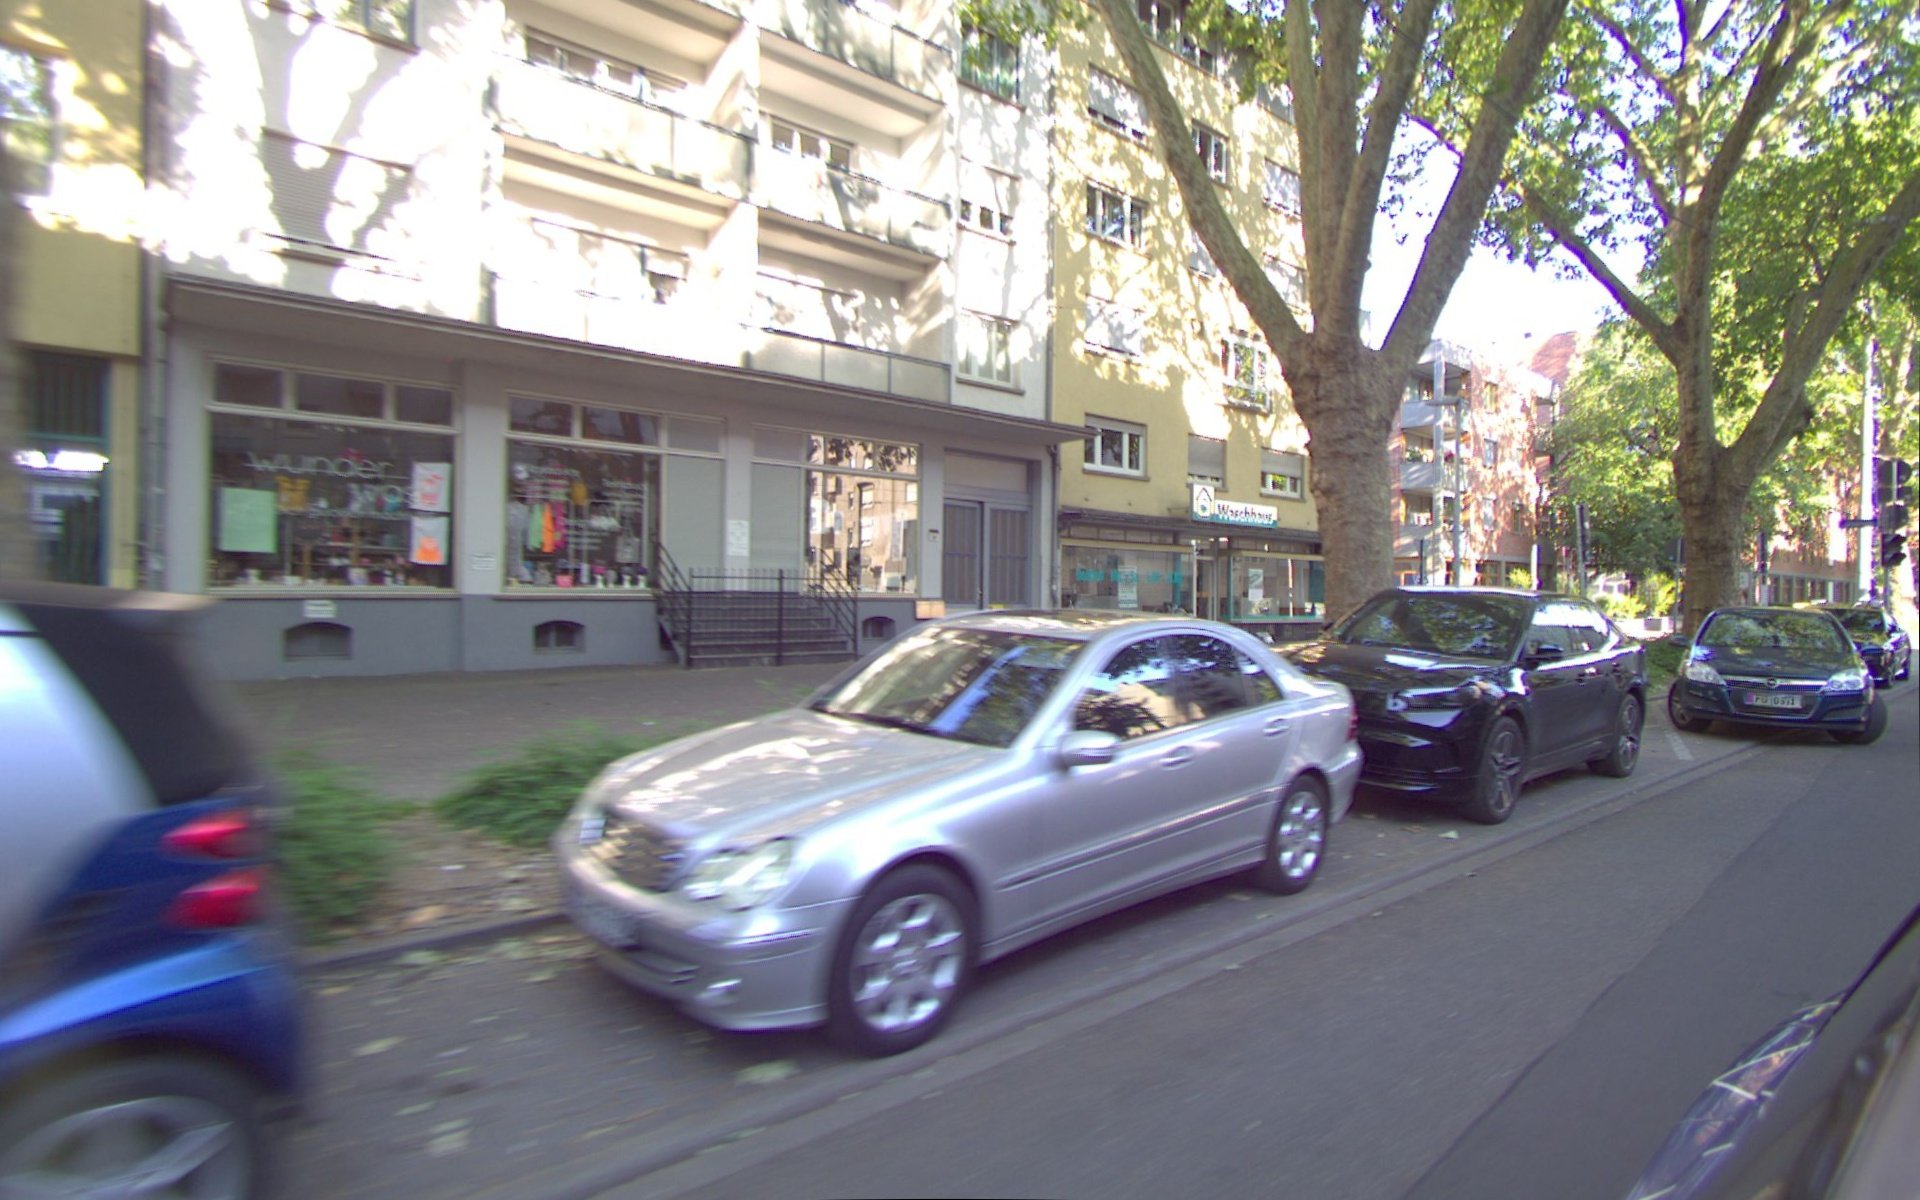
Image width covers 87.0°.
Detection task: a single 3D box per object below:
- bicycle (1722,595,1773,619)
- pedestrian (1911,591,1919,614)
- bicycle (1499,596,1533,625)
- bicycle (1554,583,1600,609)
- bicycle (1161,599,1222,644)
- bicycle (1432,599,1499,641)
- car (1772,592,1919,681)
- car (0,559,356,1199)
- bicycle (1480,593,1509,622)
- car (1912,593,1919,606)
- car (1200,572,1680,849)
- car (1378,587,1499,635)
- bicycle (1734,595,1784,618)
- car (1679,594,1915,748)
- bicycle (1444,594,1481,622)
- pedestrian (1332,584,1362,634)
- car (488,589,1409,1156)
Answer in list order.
[{"bbox_3d":[42.556,0.369,54.711,0.562,1.171,2.036,0,2,-39],"label":"bicycle"},{"bbox_3d":[71.008,0.172,74.988,0.736,1.712,0.710,0,0,-42],"label":"pedestrian"},{"bbox_3d":[23.004,0.422,41.870,1.666,1.171,0.602,0,2,-37],"label":"bicycle"},{"bbox_3d":[30.331,-0.204,49.801,0.560,1.171,1.939,1,2,-24],"label":"bicycle"},{"bbox_3d":[5.534,0.498,24.139,0.571,1.009,1.752,3,2,45],"label":"bicycle"},{"bbox_3d":[15.634,0.598,31.311,1.781,1.171,0.738,2,2,29],"label":"bicycle"},{"bbox_3d":[17.079,0.594,19.264,4.926,1.481,1.767,0,1,-42],"label":"car"},{"bbox_3d":[-2.947,0.685,1.995,2.857,1.537,1.568,-1,2,-38],"label":"car"},{"bbox_3d":[22.776,0.314,43.121,1.670,1.171,0.600,0,2,-45],"label":"bicycle"},{"bbox_3d":[118.889,-0.015,123.476,1.964,1.549,3.675,0,1,-39],"label":"car"},{"bbox_3d":[4.127,0.597,8.279,4.700,1.623,1.861,-1,3,-42],"label":"car"},{"bbox_3d":[18.674,0.385,39.633,1.833,1.714,3.870,0,1,-40],"label":"car"},{"bbox_3d":[43.422,0.343,55.015,0.560,1.171,2.041,1,2,-29],"label":"bicycle"},{"bbox_3d":[9.934,0.682,12.184,1.861,1.455,4.168,2,2,38],"label":"car"},{"bbox_3d":[21.810,0.320,43.938,1.946,1.171,0.638,0,2,-38],"label":"bicycle"},{"bbox_3d":[12.246,0.278,32.018,0.677,1.558,0.703,1,0,1],"label":"pedestrian"},{"bbox_3d":[0.350,0.718,4.979,4.527,1.453,1.818,-1,3,-44],"label":"car"}]
